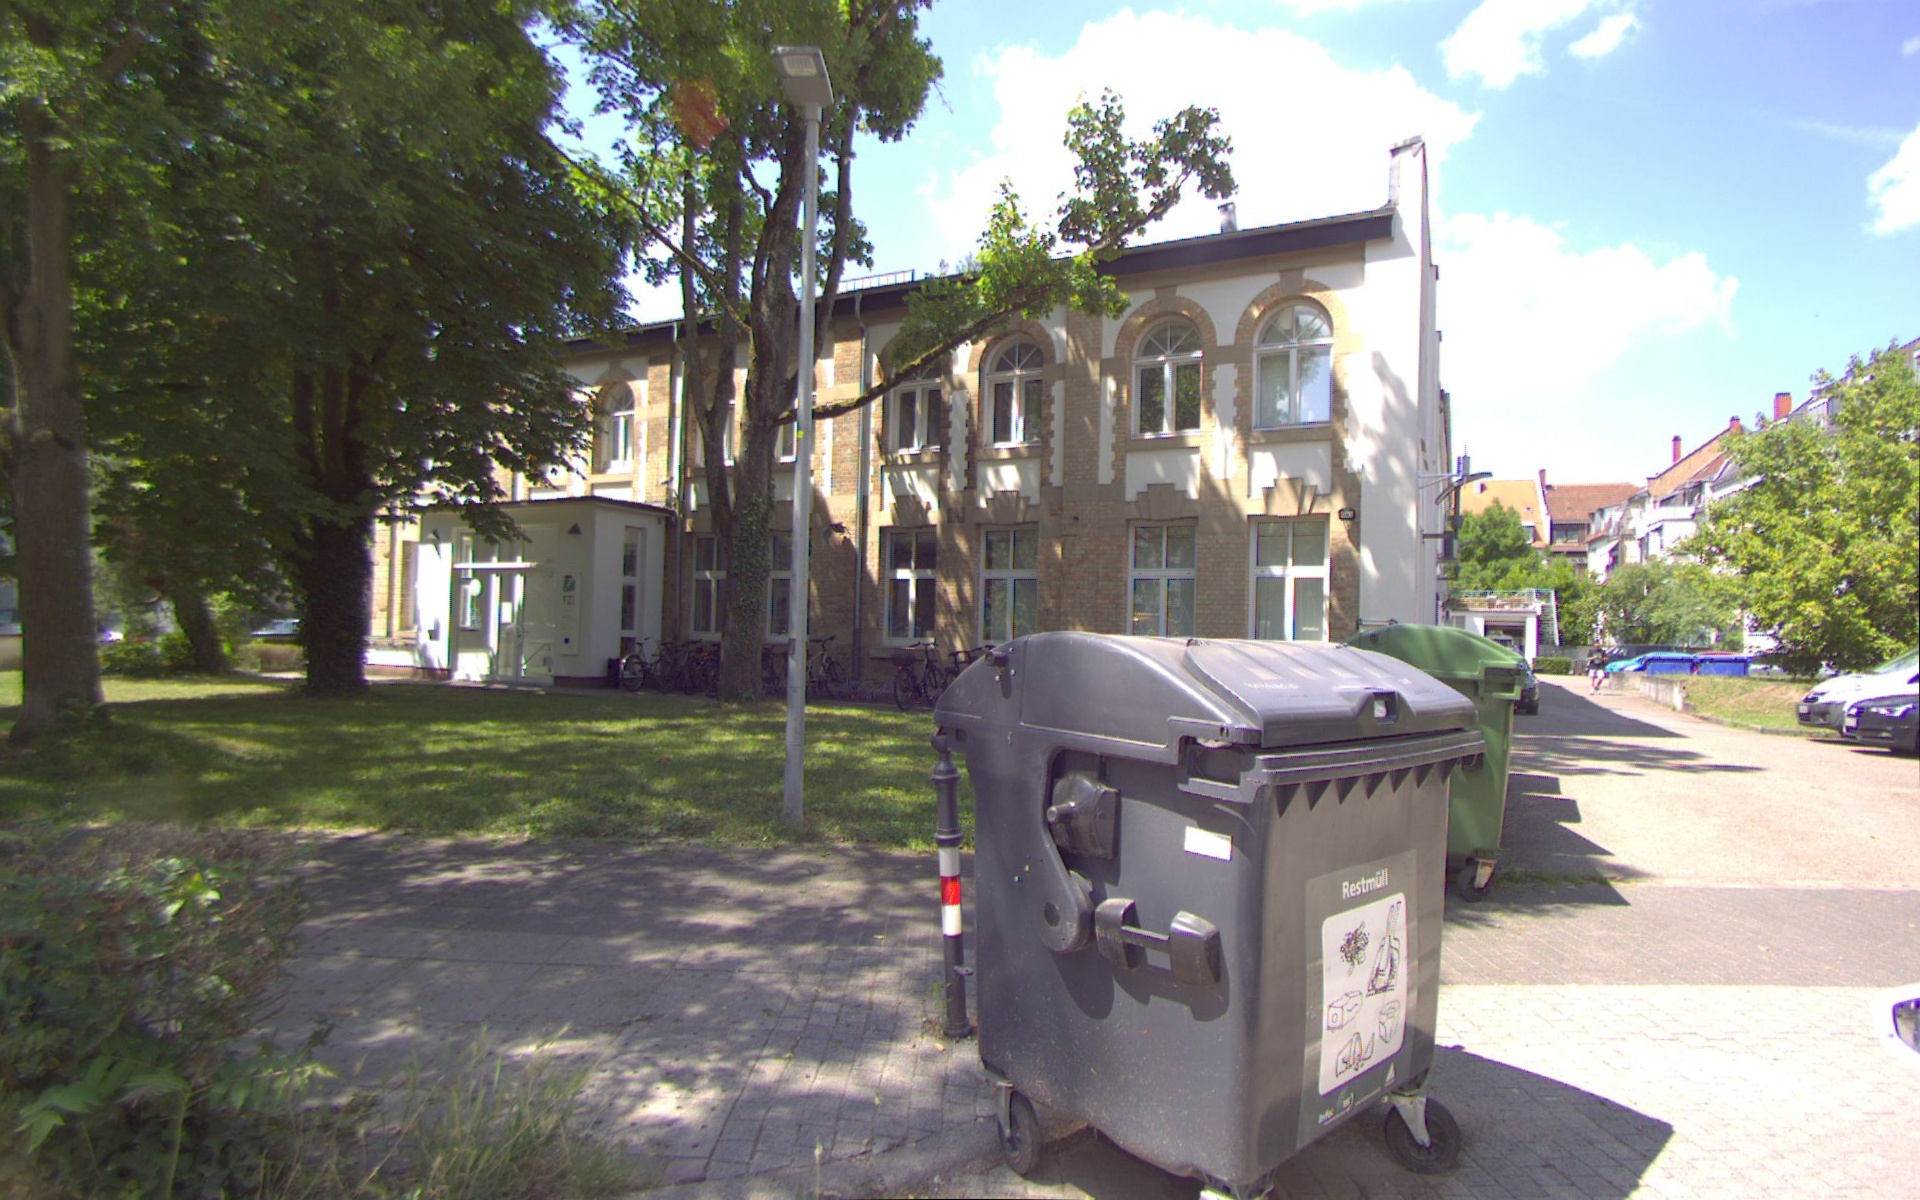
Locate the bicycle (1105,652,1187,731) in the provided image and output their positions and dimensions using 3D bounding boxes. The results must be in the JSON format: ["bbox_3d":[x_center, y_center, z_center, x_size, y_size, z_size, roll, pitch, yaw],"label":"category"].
[{"bbox_3d":[2.933,1.387,15.657,0.596,1.096,2.256,0,-2,28],"label":"bicycle"}]

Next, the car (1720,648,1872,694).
[{"bbox_3d":[30.394,2.548,36.669,3.924,1.498,1.803,0,-2,25],"label":"car"}]

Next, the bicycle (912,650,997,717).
[{"bbox_3d":[-0.053,1.382,17.096,0.595,1.024,2.259,1,-2,23],"label":"bicycle"}]

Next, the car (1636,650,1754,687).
[{"bbox_3d":[32.688,3.010,44.803,3.925,1.498,1.803,0,-2,25],"label":"car"}]

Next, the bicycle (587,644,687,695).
[{"bbox_3d":[-6.370,1.354,19.957,0.642,0.902,2.260,1,-2,19],"label":"bicycle"}]

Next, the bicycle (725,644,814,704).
[{"bbox_3d":[-3.537,1.355,18.873,0.595,1.024,2.260,1,-2,19],"label":"bicycle"}]

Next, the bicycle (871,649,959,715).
[{"bbox_3d":[-0.743,1.385,17.377,0.595,1.024,2.259,1,-2,23],"label":"bicycle"}]

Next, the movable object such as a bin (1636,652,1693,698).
[{"bbox_3d":[21.575,2.287,30.801,1.319,1.344,1.159,0,-2,29],"label":"movable object such as a bin"}]

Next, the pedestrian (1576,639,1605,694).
[{"bbox_3d":[20.826,2.177,33.190,0.745,1.778,0.750,0,-2,28],"label":"pedestrian"}]

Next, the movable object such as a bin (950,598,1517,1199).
[{"bbox_3d":[0.770,0.732,2.860,1.151,1.412,1.103,2,-2,-40],"label":"movable object such as a bin"}]

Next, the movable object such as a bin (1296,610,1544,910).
[{"bbox_3d":[2.663,0.832,5.910,1.185,1.499,1.324,0,-2,24],"label":"movable object such as a bin"}]

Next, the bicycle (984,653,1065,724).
[{"bbox_3d":[1.093,1.407,16.484,0.595,1.024,2.259,1,-2,23],"label":"bicycle"}]

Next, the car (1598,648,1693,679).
[{"bbox_3d":[36.536,3.369,53.623,3.925,1.554,1.803,0,-2,25],"label":"car"}]

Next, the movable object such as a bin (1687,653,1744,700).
[{"bbox_3d":[22.721,2.276,30.238,1.198,1.344,1.159,0,-2,29],"label":"movable object such as a bin"}]

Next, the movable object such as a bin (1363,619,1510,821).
[{"bbox_3d":[3.951,0.926,8.328,1.028,1.499,1.260,0,-2,27],"label":"movable object such as a bin"}]

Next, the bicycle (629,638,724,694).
[{"bbox_3d":[-5.558,1.265,19.833,0.620,1.025,2.260,1,-2,19],"label":"bicycle"}]

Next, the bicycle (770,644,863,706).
[{"bbox_3d":[-2.592,1.344,18.471,0.595,1.024,2.259,1,-2,23],"label":"bicycle"}]

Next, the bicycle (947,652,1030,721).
[{"bbox_3d":[0.508,1.403,16.781,0.595,1.024,2.259,1,-2,23],"label":"bicycle"}]

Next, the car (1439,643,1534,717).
[{"bbox_3d":[11.918,1.735,22.815,1.728,1.448,4.381,0,-2,27],"label":"car"}]

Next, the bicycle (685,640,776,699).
[{"bbox_3d":[-4.379,1.304,19.338,0.595,1.024,2.260,1,-2,19],"label":"bicycle"}]

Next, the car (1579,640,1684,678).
[{"bbox_3d":[37.655,3.265,56.468,4.604,1.984,2.075,0,-2,25],"label":"car"}]

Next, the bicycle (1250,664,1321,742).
[{"bbox_3d":[4.785,1.456,14.659,0.596,0.971,2.256,0,-2,28],"label":"bicycle"}]

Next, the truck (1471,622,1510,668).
[{"bbox_3d":[35.811,3.018,67.840,1.759,2.975,4.653,1,-2,21],"label":"truck"}]

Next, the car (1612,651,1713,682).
[{"bbox_3d":[35.452,3.339,50.832,3.925,1.408,1.803,0,-2,25],"label":"car"}]

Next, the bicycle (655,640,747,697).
[{"bbox_3d":[-4.995,1.306,19.532,0.559,1.024,2.260,1,-2,19],"label":"bicycle"}]

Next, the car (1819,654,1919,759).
[{"bbox_3d":[14.875,1.505,13.649,4.541,1.370,1.832,0,-2,27],"label":"car"}]

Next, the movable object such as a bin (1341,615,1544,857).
[{"bbox_3d":[3.324,0.878,7.092,1.074,1.499,1.361,0,-2,16],"label":"movable object such as a bin"}]

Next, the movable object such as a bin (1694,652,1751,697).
[{"bbox_3d":[23.885,2.329,31.484,1.197,1.344,1.160,0,-2,25],"label":"movable object such as a bin"}]

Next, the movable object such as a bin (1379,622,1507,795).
[{"bbox_3d":[4.640,0.977,9.650,1.028,1.499,1.408,0,-2,27],"label":"movable object such as a bin"}]

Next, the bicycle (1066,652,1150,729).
[{"bbox_3d":[2.391,1.394,15.983,0.596,1.096,2.256,0,-2,28],"label":"bicycle"}]

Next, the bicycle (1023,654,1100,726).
[{"bbox_3d":[1.670,1.409,16.195,0.595,1.024,2.259,1,-2,23],"label":"bicycle"}]

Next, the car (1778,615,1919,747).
[{"bbox_3d":[16.280,1.318,16.009,4.686,2.040,1.998,0,-2,27],"label":"car"}]
